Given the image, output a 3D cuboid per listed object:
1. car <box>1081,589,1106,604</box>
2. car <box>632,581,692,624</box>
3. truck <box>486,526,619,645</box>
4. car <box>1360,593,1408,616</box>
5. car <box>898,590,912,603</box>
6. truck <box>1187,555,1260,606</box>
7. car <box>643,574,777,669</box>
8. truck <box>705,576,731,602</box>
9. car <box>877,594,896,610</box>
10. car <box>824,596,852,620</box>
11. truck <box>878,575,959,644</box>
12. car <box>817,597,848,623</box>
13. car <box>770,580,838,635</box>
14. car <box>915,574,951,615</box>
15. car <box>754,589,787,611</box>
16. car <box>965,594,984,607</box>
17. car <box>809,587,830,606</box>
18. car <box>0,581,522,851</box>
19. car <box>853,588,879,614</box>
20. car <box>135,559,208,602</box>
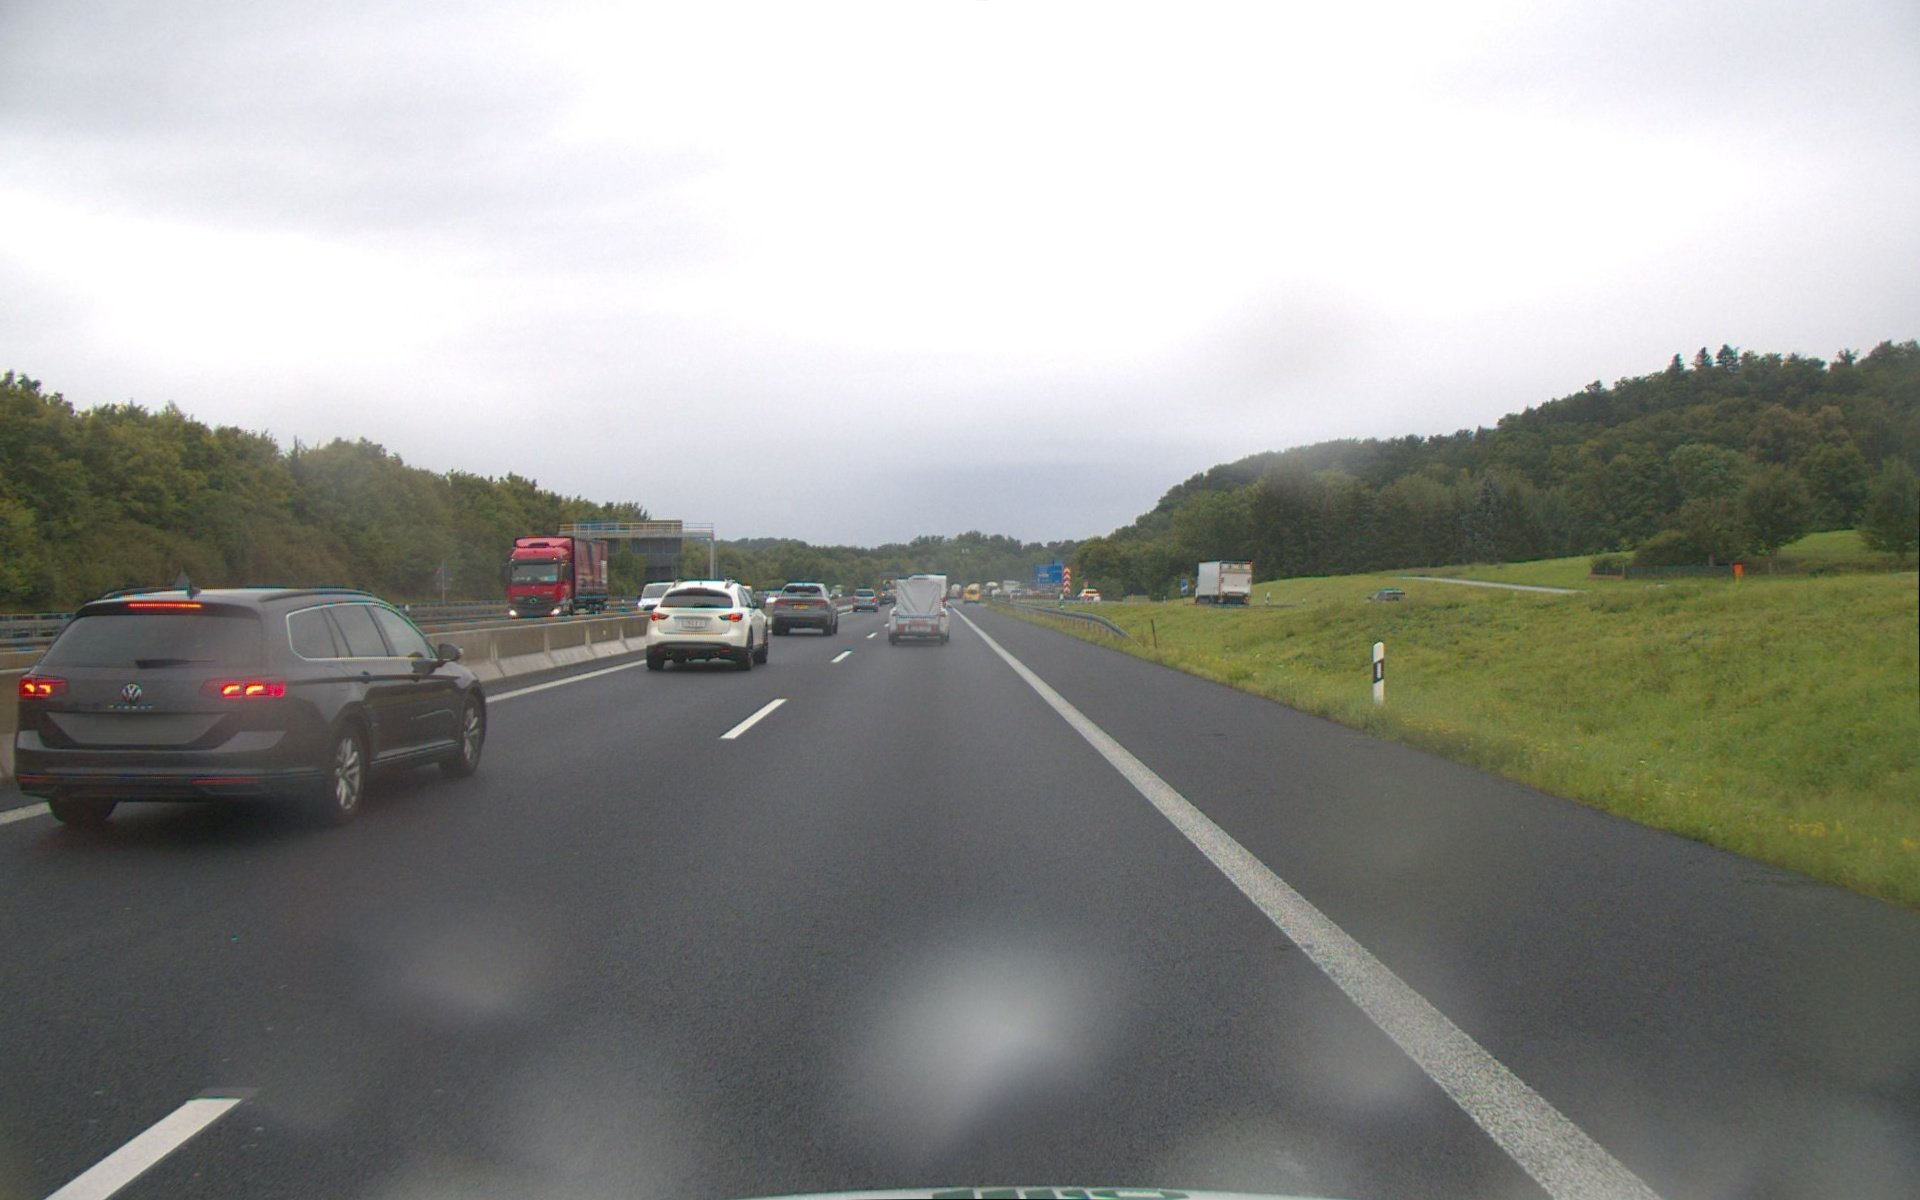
[{"bbox_3d":[13.874,-0.372,172.491,1.954,1.579,3.996,1,0,-5],"label":"car"},{"bbox_3d":[-13.976,0.099,77.812,1.953,1.895,5.219,-2,0,-2],"label":"car"},{"bbox_3d":[-17.755,-0.615,72.903,3.331,4.816,10.483,1,0,-1],"label":"truck"},{"bbox_3d":[25.232,0.242,98.475,1.664,1.311,3.531,1,0,-5],"label":"car"},{"bbox_3d":[-6.777,-0.467,204.835,1.612,1.601,3.999,1,0,-1],"label":"car"},{"bbox_3d":[20.561,-1.485,129.500,3.750,3.723,8.264,1,0,-5],"label":"truck"},{"bbox_3d":[-4.768,0.376,32.118,2.007,1.699,4.539,1,0,-2],"label":"car"},{"bbox_3d":[-35.798,-1.650,244.945,2.631,3.725,9.555,0,0,-2],"label":"truck"},{"bbox_3d":[-7.202,0.186,162.200,1.612,1.601,3.999,1,0,-1],"label":"car"},{"bbox_3d":[-8.865,0.579,120.842,1.782,1.691,4.016,0,0,-1],"label":"car"},{"bbox_3d":[-1.243,0.234,48.645,2.197,1.871,6.582,1,0,-2],"label":"truck"},{"bbox_3d":[-8.503,0.680,110.591,1.782,1.691,4.016,0,0,-1],"label":"car"},{"bbox_3d":[-5.241,0.236,56.232,1.936,1.733,4.801,1,0,-1],"label":"car"},{"bbox_3d":[-1.865,-0.394,113.368,2.285,2.773,6.536,0,0,-3],"label":"car"},{"bbox_3d":[-15.309,-0.009,133.885,2.112,1.796,4.959,0,0,-1],"label":"car"},{"bbox_3d":[1.890,0.055,216.363,1.955,1.579,3.995,1,0,-6],"label":"car"},{"bbox_3d":[-14.544,-0.403,171.761,1.953,1.868,4.677,1,0,-2],"label":"car"},{"bbox_3d":[-4.572,0.632,11.578,1.751,1.484,4.802,1,0,0],"label":"car"},{"bbox_3d":[-6.761,0.039,119.288,1.703,1.825,3.999,1,0,-1],"label":"car"},{"bbox_3d":[-39.285,-0.954,82.456,1.714,2.049,4.000,0,0,0],"label":"car"}]
